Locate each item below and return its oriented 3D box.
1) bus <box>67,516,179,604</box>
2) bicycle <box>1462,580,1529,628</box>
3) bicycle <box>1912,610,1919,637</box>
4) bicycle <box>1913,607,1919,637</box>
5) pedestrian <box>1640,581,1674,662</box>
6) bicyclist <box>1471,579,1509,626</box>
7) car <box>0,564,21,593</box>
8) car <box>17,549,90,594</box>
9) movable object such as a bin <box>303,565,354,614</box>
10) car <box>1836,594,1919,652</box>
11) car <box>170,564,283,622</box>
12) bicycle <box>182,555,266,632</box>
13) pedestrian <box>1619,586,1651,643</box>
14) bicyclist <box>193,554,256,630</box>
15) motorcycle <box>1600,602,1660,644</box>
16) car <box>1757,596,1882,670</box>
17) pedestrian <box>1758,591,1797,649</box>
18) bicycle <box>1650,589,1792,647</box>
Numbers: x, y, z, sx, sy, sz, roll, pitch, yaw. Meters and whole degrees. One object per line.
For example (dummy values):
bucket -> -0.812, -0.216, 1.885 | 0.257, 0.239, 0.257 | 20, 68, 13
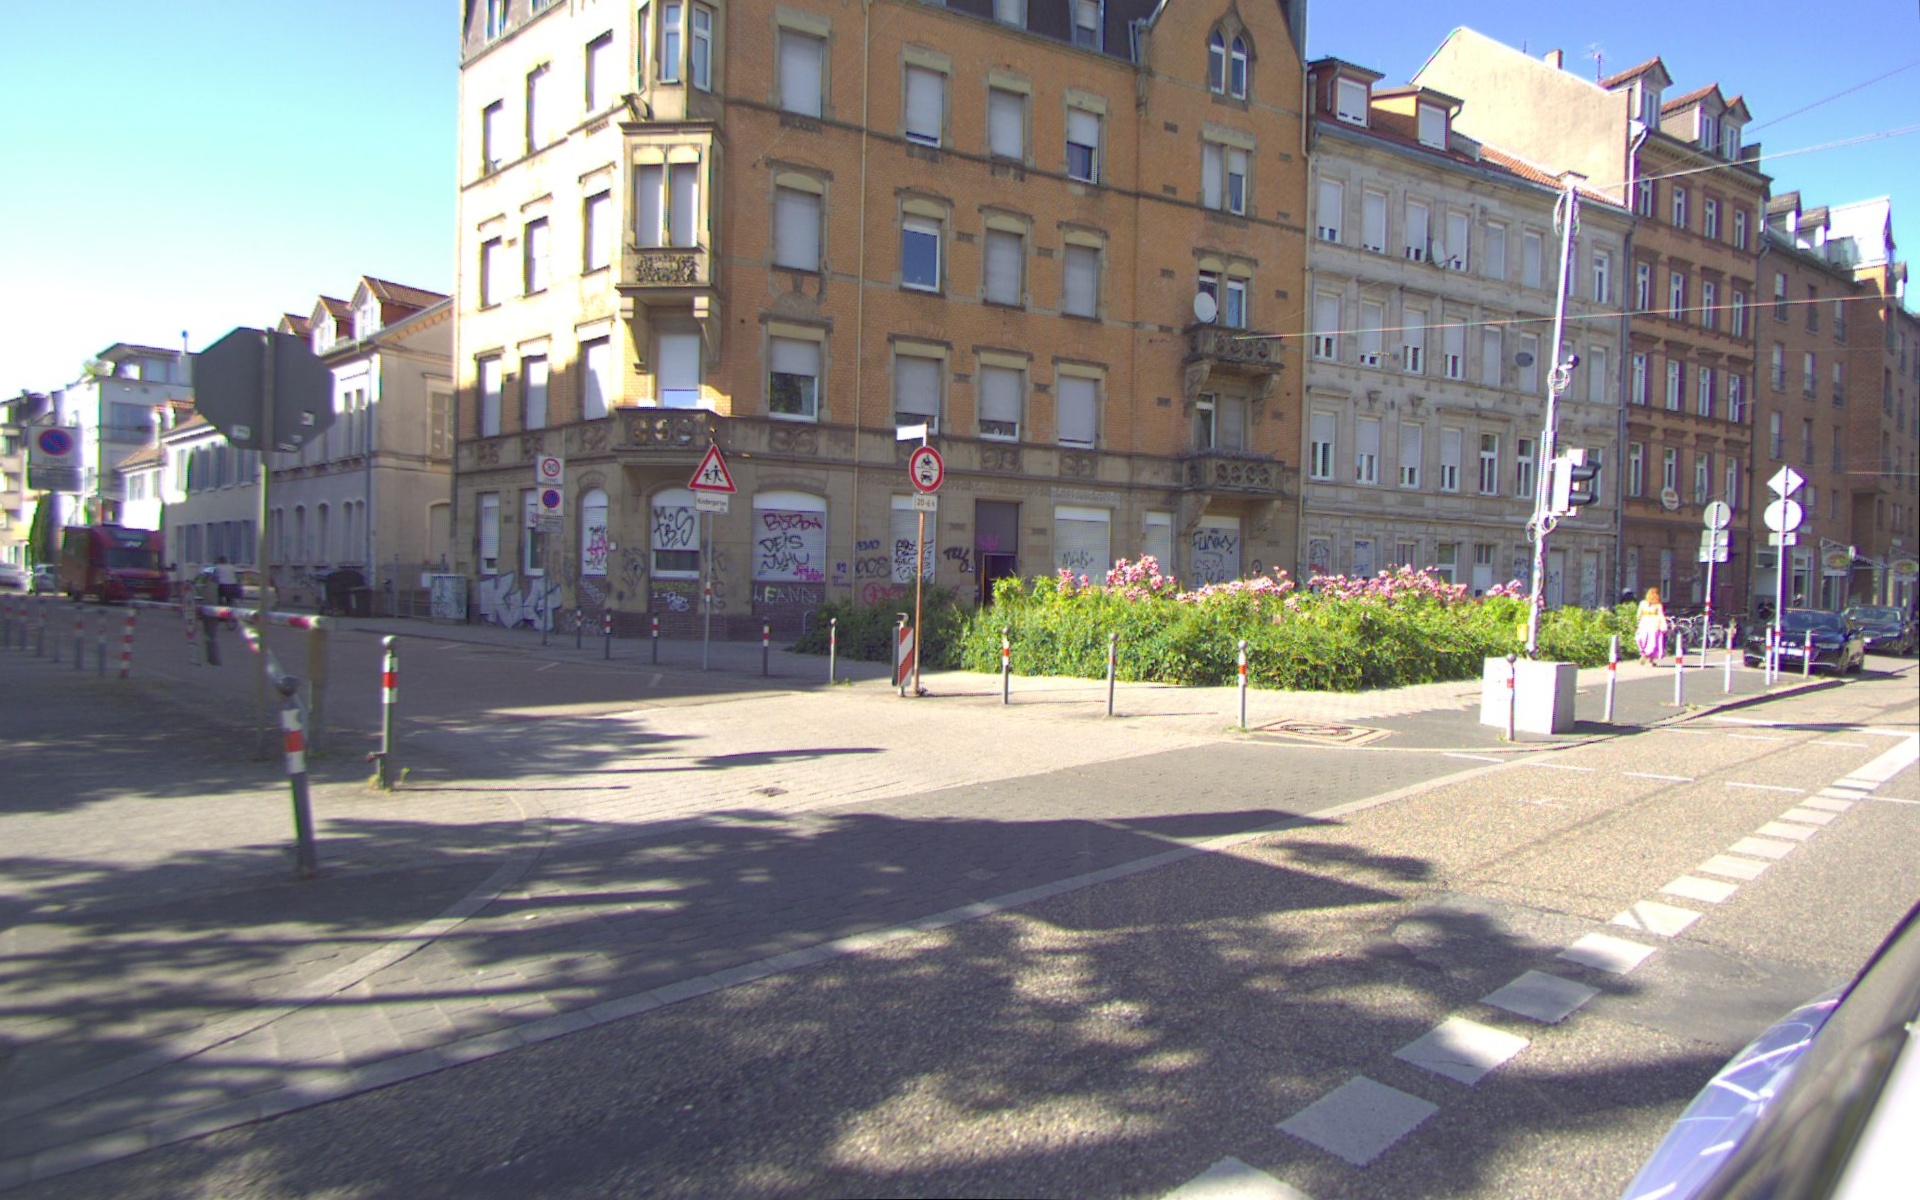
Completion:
bus -> -32.051, -1.514, 38.685 | 6.243, 3.105, 2.386 | 2, 1, 42
bicycle -> 15.323, 0.103, 28.945 | 2.198, 1.302, 0.956 | 1, 1, -41
bicycle -> 39.339, 0.981, 40.418 | 0.642, 1.072, 1.805 | 1, 2, -32
bicycle -> 38.453, 0.914, 39.276 | 0.828, 1.151, 1.924 | 1, 2, -29
pedestrian -> 14.932, 0.450, 21.680 | 0.548, 1.697, 0.679 | 2, 0, 36
bicyclist -> 15.091, 0.069, 28.812 | 0.847, 1.302, 0.693 | 1, 1, -42
car -> -55.724, -1.278, 58.430 | 3.980, 1.564, 1.613 | 2, 1, 38
car -> -42.565, -1.345, 47.483 | 3.981, 2.039, 1.972 | 2, 1, 39
movable object such as a bin -> -19.441, -0.329, 31.174 | 1.213, 1.462, 1.020 | 2, 1, 41
car -> 29.434, 0.711, 32.025 | 4.393, 1.543, 1.765 | 1, 5, -40
car -> -21.622, -0.243, 29.785 | 3.978, 1.564, 1.613 | 2, 1, 37
bicycle -> -17.253, -0.167, 23.699 | 2.129, 1.701, 0.996 | 2, 1, 37
pedestrian -> 22.649, 0.480, 33.963 | 0.817, 1.885, 0.695 | 2, 1, 36
bicyclist -> -17.287, -0.194, 23.789 | 1.044, 1.746, 0.908 | 2, 1, 37
motorcycle -> 22.533, 0.756, 34.044 | 1.622, 1.332, 0.708 | 2, 1, 36
car -> 19.763, 0.705, 23.221 | 3.931, 1.502, 1.681 | 1, 1, -42
pedestrian -> 29.642, 0.719, 36.678 | 1.345, 2.039, 0.844 | 1, 1, -41
bicycle -> 22.896, 0.507, 30.319 | 6.707, 1.433, 1.969 | 1, 4, -41
